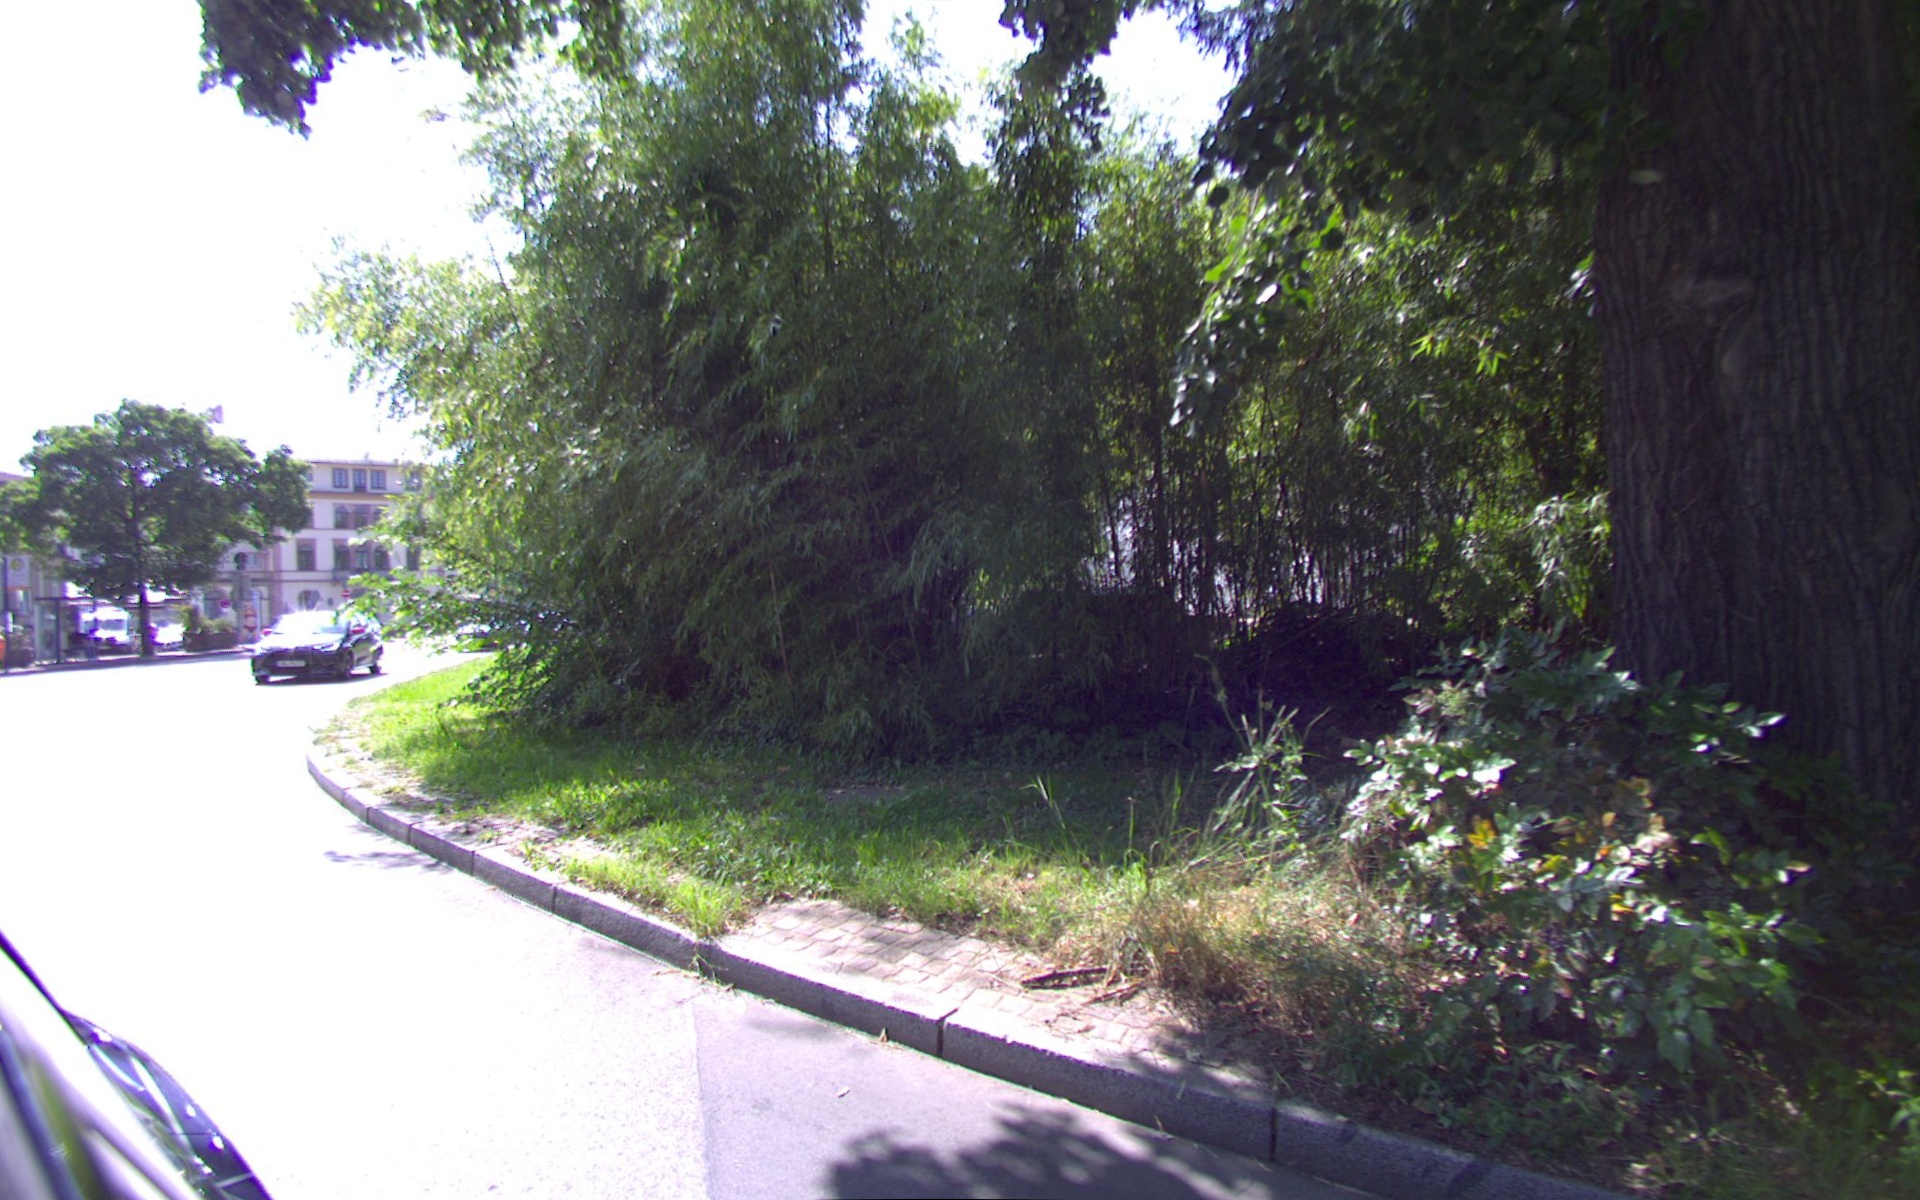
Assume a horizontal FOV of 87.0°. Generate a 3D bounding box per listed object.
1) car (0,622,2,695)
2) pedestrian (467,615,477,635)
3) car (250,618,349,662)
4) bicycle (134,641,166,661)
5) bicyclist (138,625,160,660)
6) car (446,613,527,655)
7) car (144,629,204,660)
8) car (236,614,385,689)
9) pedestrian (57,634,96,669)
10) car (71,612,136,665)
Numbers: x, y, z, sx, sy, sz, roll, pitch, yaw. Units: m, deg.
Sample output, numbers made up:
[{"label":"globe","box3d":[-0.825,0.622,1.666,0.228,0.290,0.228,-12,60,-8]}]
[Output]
[{"label":"car","box3d":[-19.312,1.113,17.598,1.966,1.448,4.766,-1,-1,-17]},{"label":"pedestrian","box3d":[-44.964,2.318,93.220,0.714,1.819,0.654,-2,-1,-29]},{"label":"car","box3d":[-24.637,1.450,37.918,1.762,1.524,4.291,0,-1,-13]},{"label":"bicycle","box3d":[-38.410,2.404,47.995,0.583,0.861,1.750,-2,-1,-18]},{"label":"bicyclist","box3d":[-38.381,2.013,47.900,0.583,1.618,0.686,-2,-1,-18]},{"label":"car","box3d":[-17.717,1.247,38.076,1.763,1.504,4.097,0,-1,-10]},{"label":"car","box3d":[-45.396,2.510,58.538,1.791,1.638,4.895,-2,-1,-26]},{"label":"car","box3d":[-14.156,1.063,22.321,1.761,1.463,4.294,0,-1,-18]},{"label":"pedestrian","box3d":[-31.952,1.845,36.611,1.005,1.207,0.793,-1,-1,-37]},{"label":"car","box3d":[-45.552,2.035,53.785,5.318,2.623,1.972,-3,-1,43]}]
